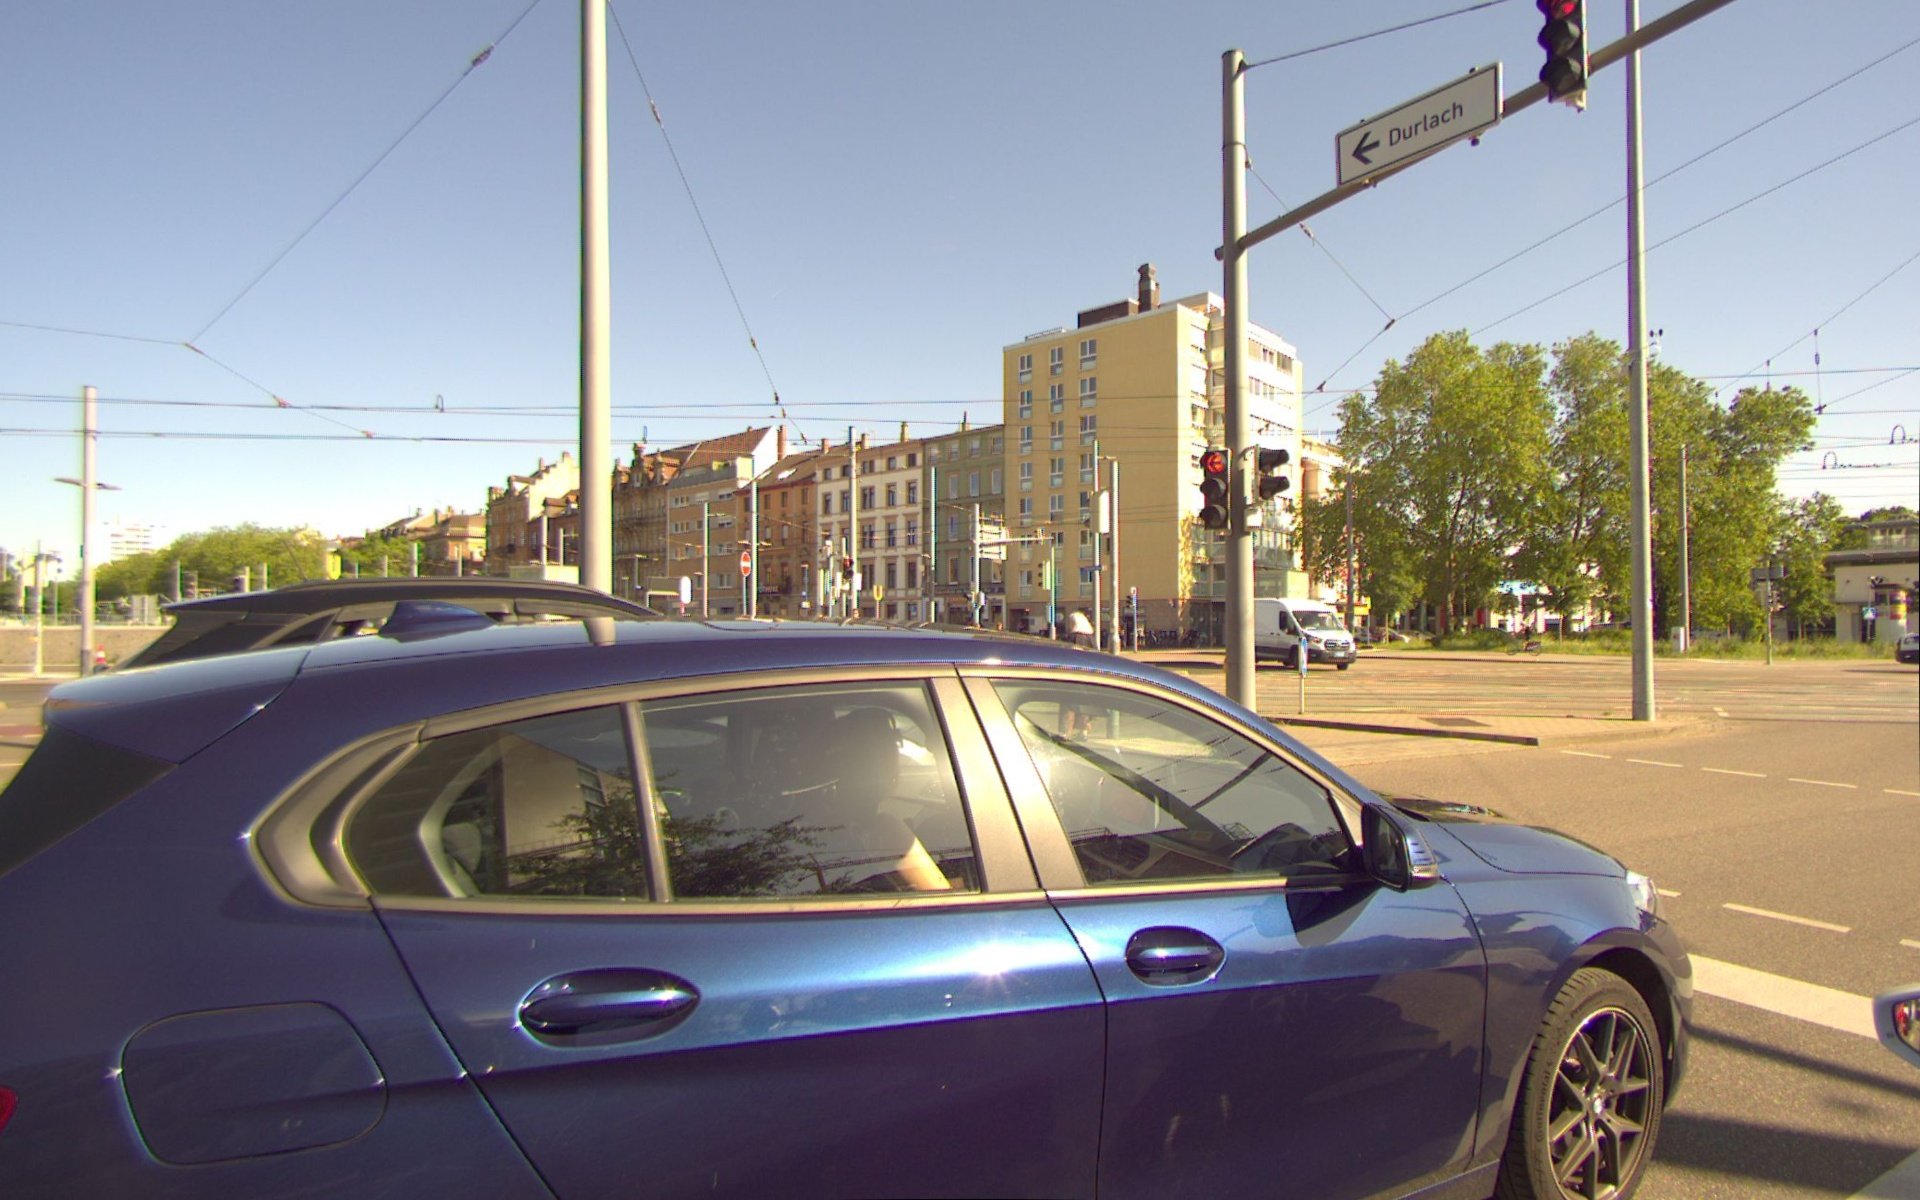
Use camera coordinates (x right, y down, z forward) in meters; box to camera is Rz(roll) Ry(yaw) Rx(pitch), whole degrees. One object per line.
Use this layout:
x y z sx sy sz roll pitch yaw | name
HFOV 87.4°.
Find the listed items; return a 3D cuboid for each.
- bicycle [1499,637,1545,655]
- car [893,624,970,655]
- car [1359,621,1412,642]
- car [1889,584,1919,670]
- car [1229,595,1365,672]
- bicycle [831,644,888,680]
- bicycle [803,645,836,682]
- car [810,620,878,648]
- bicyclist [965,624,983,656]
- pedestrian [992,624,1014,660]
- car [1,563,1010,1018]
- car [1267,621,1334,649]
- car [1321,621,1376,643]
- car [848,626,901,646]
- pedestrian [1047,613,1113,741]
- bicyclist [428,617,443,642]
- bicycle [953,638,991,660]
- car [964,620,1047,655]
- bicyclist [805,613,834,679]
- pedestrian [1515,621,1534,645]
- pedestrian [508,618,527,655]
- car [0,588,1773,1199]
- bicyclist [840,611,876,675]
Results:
28.375 2.314 50.721 1.979 0.925 0.560 -1 -2 37 | bicycle
-1.626 2.204 56.388 4.246 1.675 1.848 -1 -2 42 | car
34.842 2.594 82.270 3.691 1.684 1.586 -1 -2 42 | car
33.677 0.863 32.013 5.838 2.780 2.133 -1 -2 42 | car
11.814 1.171 35.675 1.966 2.541 5.404 0 -2 -15 | car
-2.672 1.632 26.633 0.672 0.890 1.880 1 -2 -35 | bicycle
-3.662 1.628 26.078 0.667 0.890 1.893 0 -2 -14 | bicycle
-7.192 2.069 62.071 4.244 1.675 1.849 -1 -2 40 | car
0.643 1.845 46.282 0.609 1.462 0.614 1 -1 -30 | bicyclist
1.957 1.883 45.209 0.669 1.593 0.740 1 -2 -45 | pedestrian
-1.888 0.680 5.117 3.959 1.537 1.751 1 -1 -28 | car
21.568 2.213 63.726 3.691 1.684 1.586 -1 -2 42 | car
29.857 2.459 77.235 3.691 1.684 1.586 -1 -2 42 | car
-6.299 2.655 74.420 1.749 1.446 3.863 -1 -2 39 | car
1.506 0.950 12.607 0.749 1.575 0.356 0 -1 -18 | pedestrian
-31.557 1.787 60.420 0.672 1.474 0.777 1 -1 -35 | bicyclist
0.555 2.252 46.215 1.666 0.958 0.614 1 -2 -30 | bicycle
2.224 1.856 50.130 1.857 1.681 4.020 1 -2 -43 | car
-3.673 1.193 26.191 0.667 1.676 0.783 0 -1 -14 | bicyclist
28.461 1.663 50.666 0.784 1.220 0.558 -1 -2 37 | pedestrian
-20.750 1.718 47.106 0.672 1.735 0.793 1 -1 -38 | pedestrian
0.098 0.753 2.521 3.984 1.464 1.703 1 0 -30 | car
-2.719 1.127 26.713 0.672 1.676 0.777 1 -1 -35 | bicyclist
